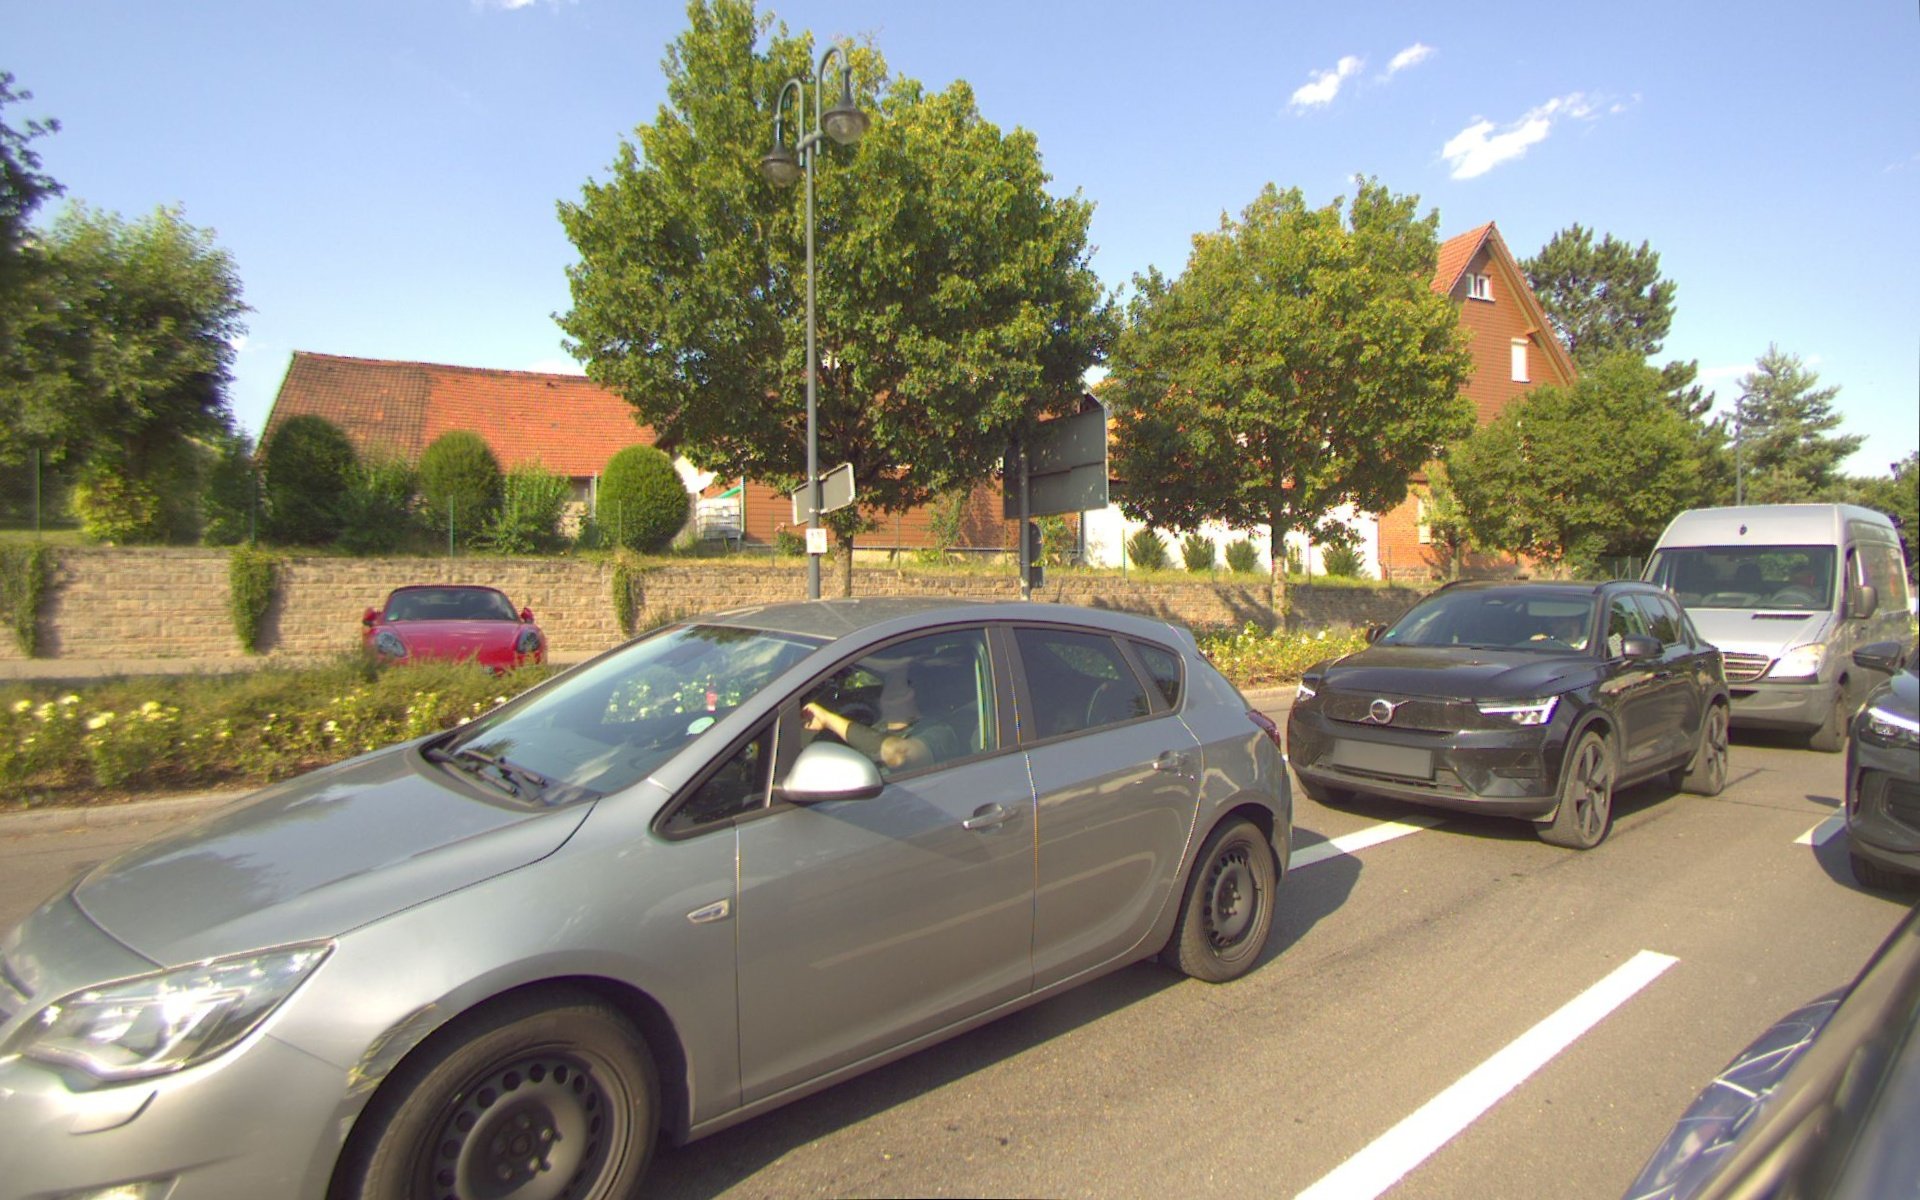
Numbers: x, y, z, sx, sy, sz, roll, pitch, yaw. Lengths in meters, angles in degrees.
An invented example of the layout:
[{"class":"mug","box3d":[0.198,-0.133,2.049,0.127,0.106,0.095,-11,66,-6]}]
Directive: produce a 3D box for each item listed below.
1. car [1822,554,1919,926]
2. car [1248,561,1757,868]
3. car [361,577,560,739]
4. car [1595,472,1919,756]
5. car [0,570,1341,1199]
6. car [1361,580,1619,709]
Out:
[{"class":"car","box3d":[6.208,0.625,5.328,4.242,1.629,1.844,0,2,-40]},{"class":"car","box3d":[4.155,0.574,7.443,4.242,1.629,1.844,0,2,-40]},{"class":"car","box3d":[-5.902,0.534,11.705,1.743,1.510,4.156,0,0,-31]},{"class":"car","box3d":[9.721,0.094,11.961,5.938,2.601,1.992,0,1,-40]},{"class":"car","box3d":[-0.564,0.673,3.513,4.244,1.471,1.765,0,2,-42]},{"class":"car","box3d":[8.004,0.557,15.107,4.483,1.628,1.766,0,2,-39]}]
